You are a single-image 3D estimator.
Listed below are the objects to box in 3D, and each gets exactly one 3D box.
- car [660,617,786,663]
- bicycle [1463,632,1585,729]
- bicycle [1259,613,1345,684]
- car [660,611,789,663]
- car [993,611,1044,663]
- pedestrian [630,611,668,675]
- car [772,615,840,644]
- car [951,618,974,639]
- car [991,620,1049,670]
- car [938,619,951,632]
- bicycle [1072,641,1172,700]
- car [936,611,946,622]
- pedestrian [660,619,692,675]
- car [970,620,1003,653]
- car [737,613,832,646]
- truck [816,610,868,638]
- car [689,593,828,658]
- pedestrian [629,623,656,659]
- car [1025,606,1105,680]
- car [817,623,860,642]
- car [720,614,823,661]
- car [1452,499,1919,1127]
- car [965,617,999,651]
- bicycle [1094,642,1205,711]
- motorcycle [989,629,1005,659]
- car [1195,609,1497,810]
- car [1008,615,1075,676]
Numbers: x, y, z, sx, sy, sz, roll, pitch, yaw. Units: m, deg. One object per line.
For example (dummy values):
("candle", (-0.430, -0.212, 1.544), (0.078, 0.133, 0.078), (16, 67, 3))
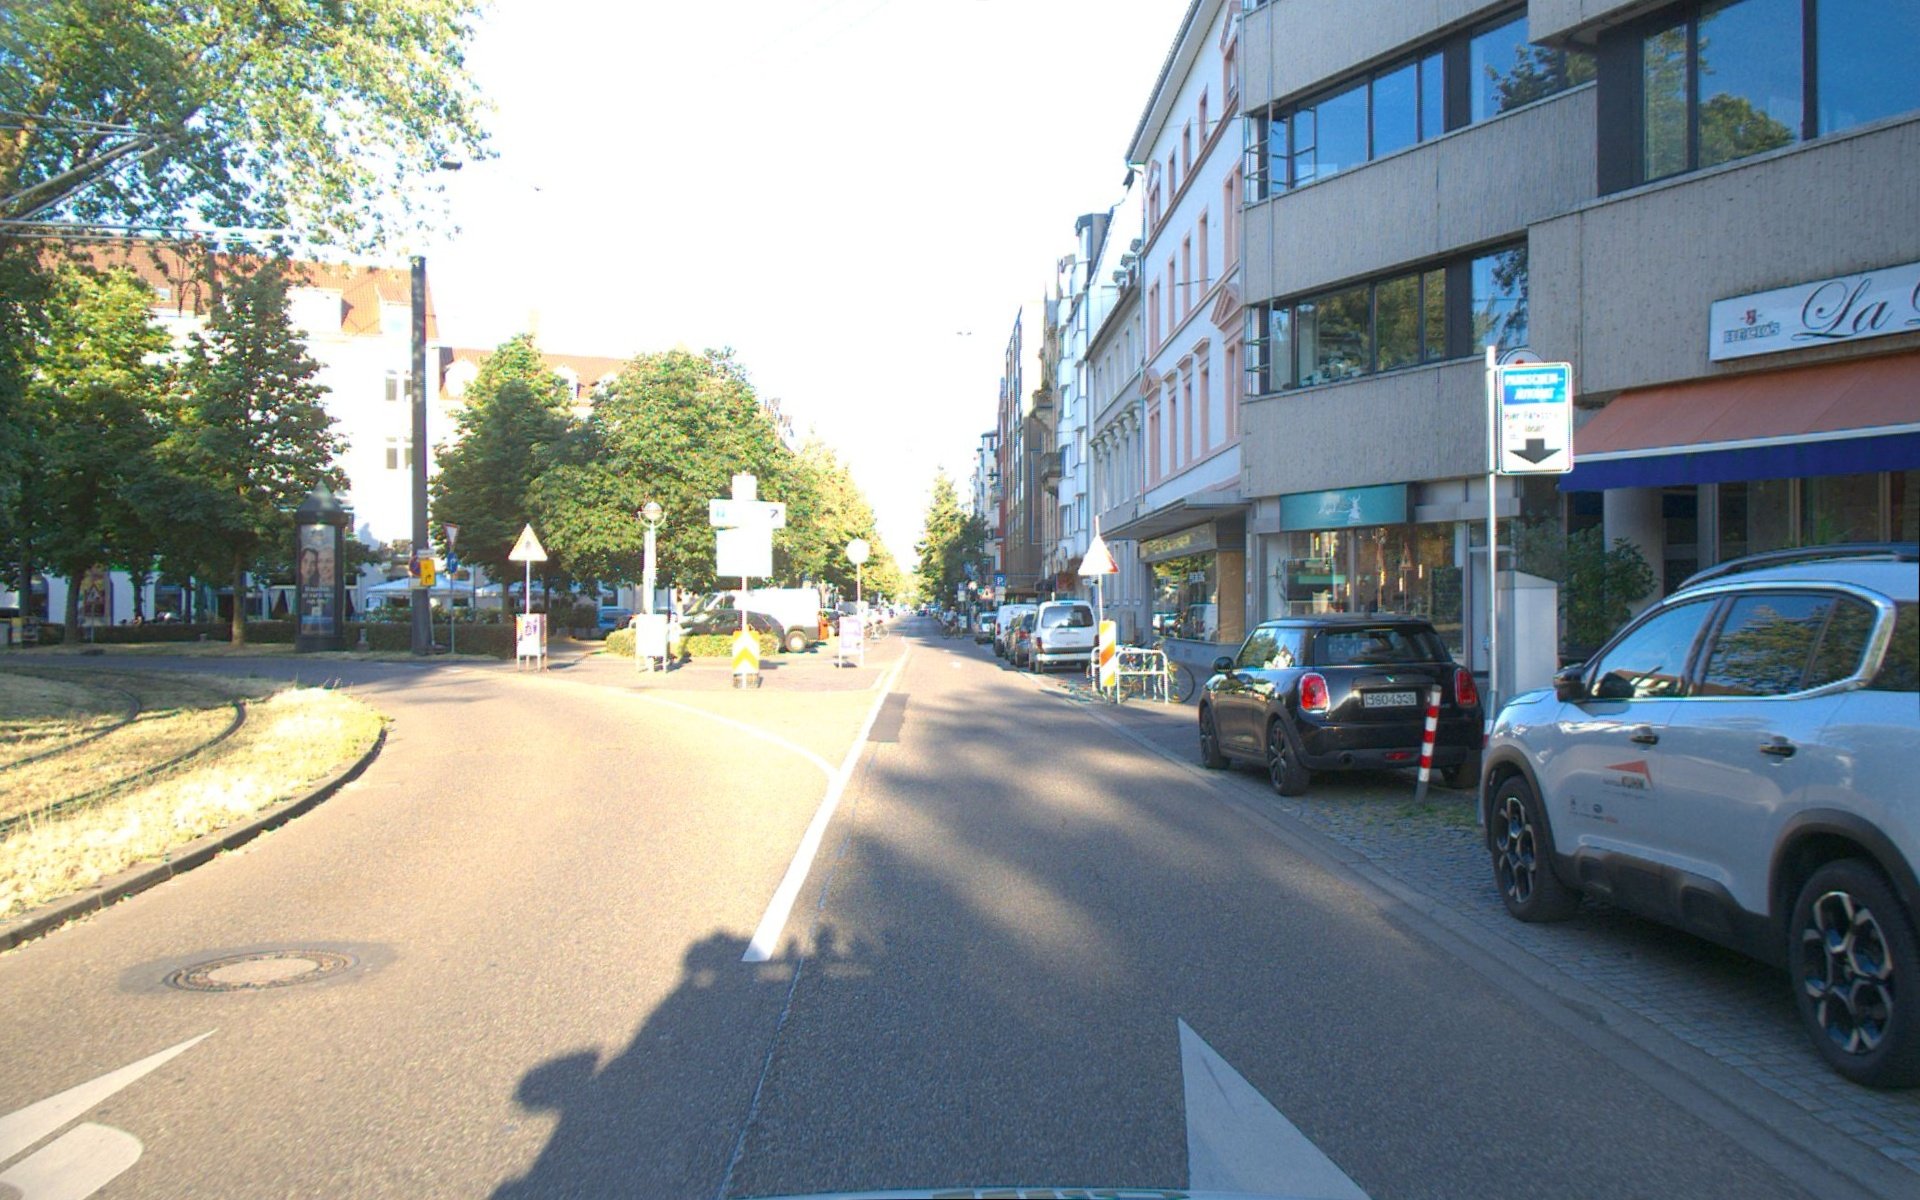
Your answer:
("car", (-8.118, 1.344, 56.787), (3.964, 1.512, 1.806), (1, -1, -41))
("bicycle", (6.714, 0.936, 19.643), (1.874, 1.022, 0.452), (-2, -1, -41))
("bicycle", (6.660, 0.947, 32.239), (0.412, 1.299, 1.638), (1, -4, -44))
("car", (-7.630, 1.172, 53.848), (3.849, 1.610, 1.776), (1, -1, -41))
("car", (2.140, 1.335, 61.282), (1.675, 1.867, 4.305), (1, 0, 0))
("pedestrian", (-7.861, 1.075, 41.749), (0.692, 1.586, 0.685), (1, -1, -39))
("car", (-10.233, 1.954, 110.288), (4.359, 1.867, 2.033), (1, -1, -2))
("car", (0.198, 2.315, 134.455), (1.545, 1.570, 3.393), (-2, -1, -4))
("car", (1.930, 1.447, 54.245), (1.633, 1.571, 3.881), (1, 0, -2))
("car", (-1.590, 2.566, 165.990), (1.182, 1.323, 2.658), (1, -2, -4))
("bicycle", (3.060, 1.334, 31.257), (1.751, 1.007, 0.542), (-3, 1, 21))
("car", (-2.748, 2.357, 236.112), (1.283, 1.628, 2.658), (1, -2, -4))
("pedestrian", (-7.242, 1.192, 42.167), (0.558, 1.388, 0.606), (1, -1, -39))
("car", (1.419, 1.903, 87.350), (1.646, 1.588, 4.000), (-2, 0, 1))
("car", (-8.197, 1.374, 77.309), (3.946, 1.512, 1.979), (1, -1, -31))
("truck", (-11.169, 2.284, 156.622), (4.841, 2.661, 1.999), (0, -1, -2))
("car", (-7.333, 0.939, 60.290), (4.546, 2.290, 2.182), (1, -1, -29))
("pedestrian", (-11.607, 1.499, 60.400), (0.741, 1.300, 0.652), (1, -1, -39))
("car", (2.695, 1.106, 43.231), (1.756, 1.823, 4.090), (0, -1, -1))
("car", (-10.674, 2.881, 145.175), (3.664, 1.624, 1.999), (1, -1, -2))
("car", (-7.945, 1.584, 69.864), (3.958, 1.911, 1.846), (1, -1, -38))
("car", (3.600, 0.643, 6.639), (1.748, 1.836, 4.398), (1, 0, -3))
("car", (1.216, 1.865, 92.352), (1.662, 1.800, 3.998), (-1, 0, -2))
("bicycle", (3.130, 1.260, 27.260), (1.749, 1.007, 0.542), (-3, 1, 10))
("motorcycle", (1.564, 1.864, 70.729), (0.576, 1.221, 2.209), (0, 0, -2))
("car", (3.271, 0.861, 14.769), (1.753, 1.534, 3.920), (1, 0, 0))
("car", (2.355, 1.307, 48.495), (1.623, 1.694, 4.106), (1, -1, -2))
